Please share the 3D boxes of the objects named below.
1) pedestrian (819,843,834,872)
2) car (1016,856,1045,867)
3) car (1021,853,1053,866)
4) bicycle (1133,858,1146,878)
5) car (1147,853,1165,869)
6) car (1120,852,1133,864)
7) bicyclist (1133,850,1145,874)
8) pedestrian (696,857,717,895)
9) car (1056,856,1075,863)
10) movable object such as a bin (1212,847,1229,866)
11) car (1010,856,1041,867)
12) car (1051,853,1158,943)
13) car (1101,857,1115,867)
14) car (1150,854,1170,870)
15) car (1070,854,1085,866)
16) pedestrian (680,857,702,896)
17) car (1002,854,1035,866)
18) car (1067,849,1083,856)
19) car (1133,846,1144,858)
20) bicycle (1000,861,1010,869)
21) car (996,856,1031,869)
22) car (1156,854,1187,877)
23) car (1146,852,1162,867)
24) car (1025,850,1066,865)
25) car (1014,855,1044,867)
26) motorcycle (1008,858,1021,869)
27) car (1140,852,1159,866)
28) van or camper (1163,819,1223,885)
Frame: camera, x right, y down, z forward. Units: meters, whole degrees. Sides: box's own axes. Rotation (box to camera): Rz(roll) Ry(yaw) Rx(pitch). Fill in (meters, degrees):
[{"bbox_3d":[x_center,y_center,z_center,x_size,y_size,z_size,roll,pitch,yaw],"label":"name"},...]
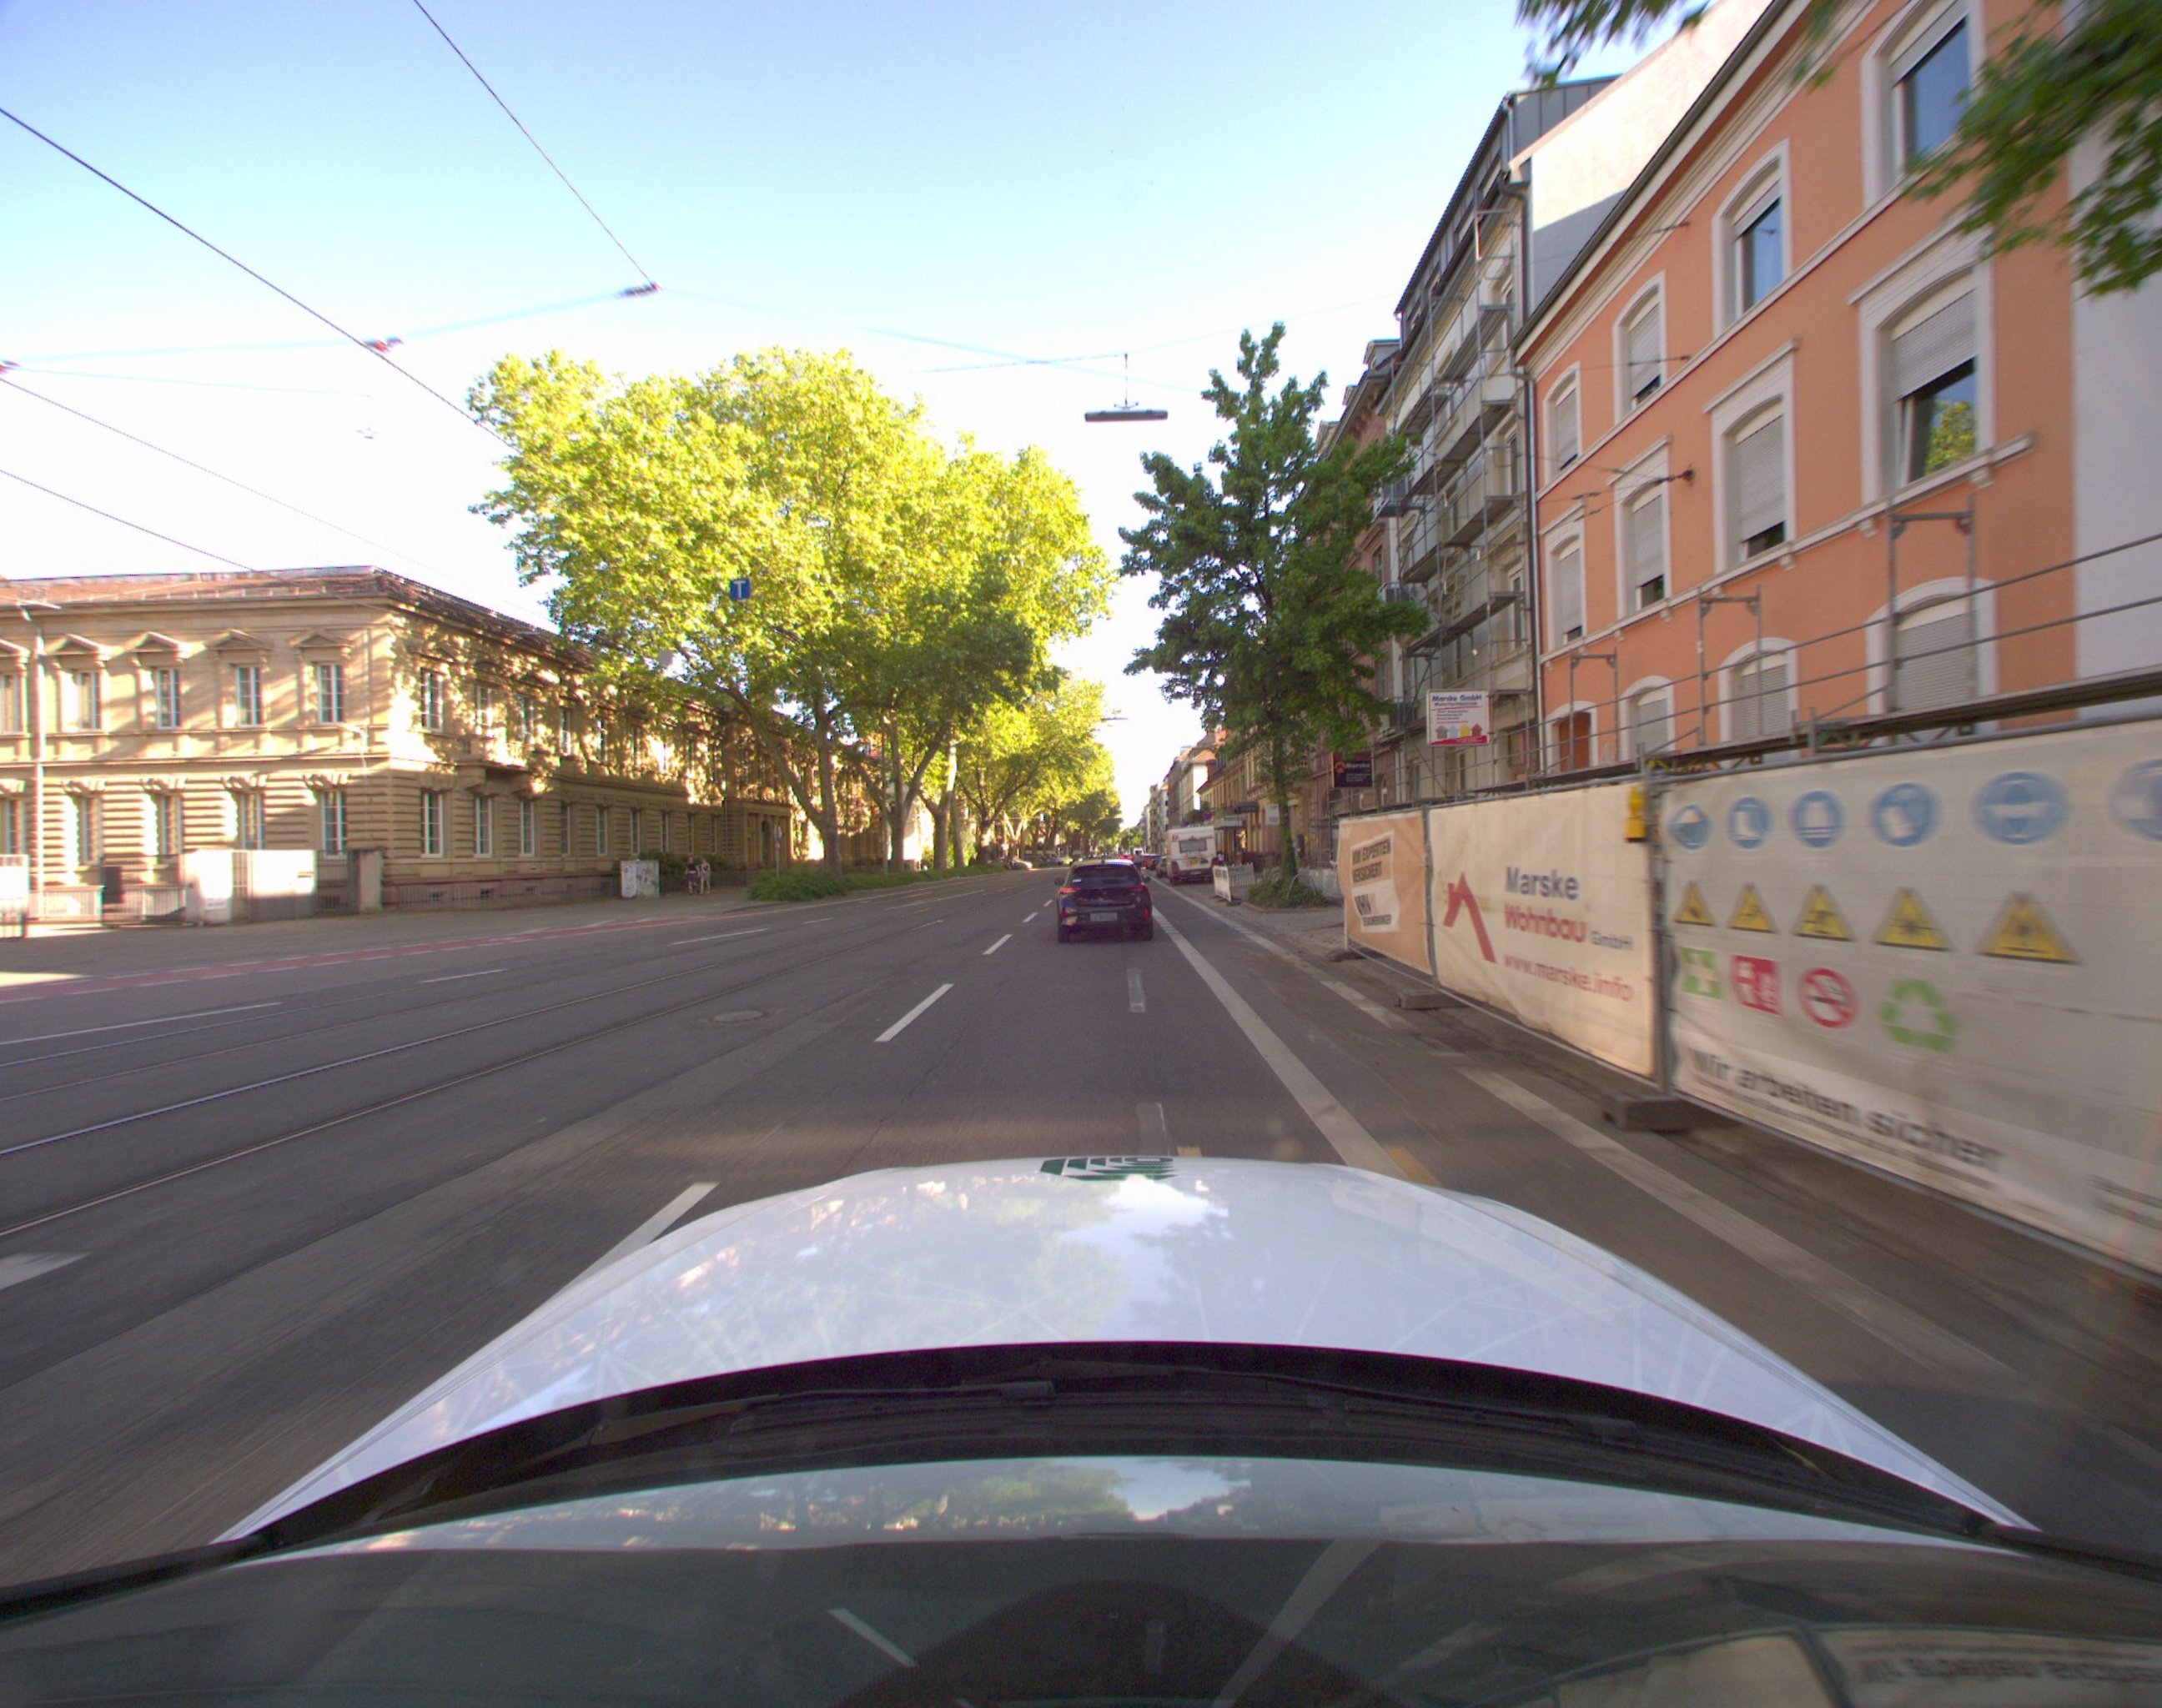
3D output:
[{"bbox_3d":[-16.245,0.236,52.045,0.718,1.849,0.836,-1,0,-5],"label":"pedestrian"},{"bbox_3d":[-7.042,1.065,114.331,3.906,1.421,1.819,0,0,1],"label":"car"},{"bbox_3d":[-6.666,0.888,123.884,4.654,1.924,1.982,0,0,4],"label":"car"},{"bbox_3d":[4.232,0.985,59.075,0.857,1.407,2.525,-1,0,2],"label":"bicycle"},{"bbox_3d":[7.655,0.711,83.588,1.644,1.456,3.871,-2,0,3],"label":"car"},{"bbox_3d":[6.683,0.605,119.117,1.802,1.742,3.937,-1,0,4],"label":"car"},{"bbox_3d":[4.221,0.592,59.131,0.845,1.740,1.162,-1,0,2],"label":"bicyclist"},{"bbox_3d":[-16.775,0.976,36.469,0.633,1.697,0.655,-1,0,-5],"label":"pedestrian"},{"bbox_3d":[-3.189,1.152,169.580,3.907,1.498,1.677,0,0,0],"label":"car"},{"bbox_3d":[11.547,0.199,67.430,1.288,1.520,1.287,-1,0,3],"label":"movable object such as a bin"},{"bbox_3d":[-7.469,1.049,109.664,3.903,1.442,1.750,0,0,3],"label":"car"},{"bbox_3d":[0.476,0.734,15.404,1.786,1.441,3.534,-1,1,3],"label":"car"},{"bbox_3d":[3.814,1.044,114.117,1.802,1.338,3.936,-1,0,3],"label":"car"},{"bbox_3d":[7.329,0.720,75.885,1.686,1.392,4.499,-2,0,4],"label":"car"},{"bbox_3d":[-0.517,0.811,117.699,1.859,1.629,4.563,-2,1,3],"label":"car"},{"bbox_3d":[-17.448,1.008,36.409,0.670,1.697,0.661,-1,0,-5],"label":"pedestrian"},{"bbox_3d":[-7.763,0.732,101.139,3.903,1.462,1.807,-1,0,3],"label":"car"},{"bbox_3d":[-1.571,-0.358,200.247,3.907,1.790,1.677,0,0,0],"label":"car"},{"bbox_3d":[11.759,-0.378,166.004,2.066,2.219,4.939,-5,0,4],"label":"car"},{"bbox_3d":[-8.432,1.213,89.930,0.537,0.940,2.040,-1,0,11],"label":"bicycle"},{"bbox_3d":[-8.127,1.049,98.302,3.905,1.453,1.801,-1,0,2],"label":"car"},{"bbox_3d":[6.277,0.778,56.975,1.802,1.435,4.668,-2,0,2],"label":"car"},{"bbox_3d":[7.868,0.585,88.047,1.627,1.546,3.580,-2,0,4],"label":"car"},{"bbox_3d":[-6.017,0.558,138.855,6.600,2.409,2.460,0,0,3],"label":"car"},{"bbox_3d":[-7.160,0.987,111.928,3.978,1.627,1.880,0,0,2],"label":"car"},{"bbox_3d":[-7.342,1.030,89.872,0.879,1.147,2.398,-1,0,11],"label":"motorcycle"},{"bbox_3d":[8.353,0.637,99.325,1.874,1.586,3.932,-5,0,0],"label":"car"},{"bbox_3d":[5.802,-0.090,43.260,2.466,2.972,7.893,-5,0,4],"label":"van or camper"}]
